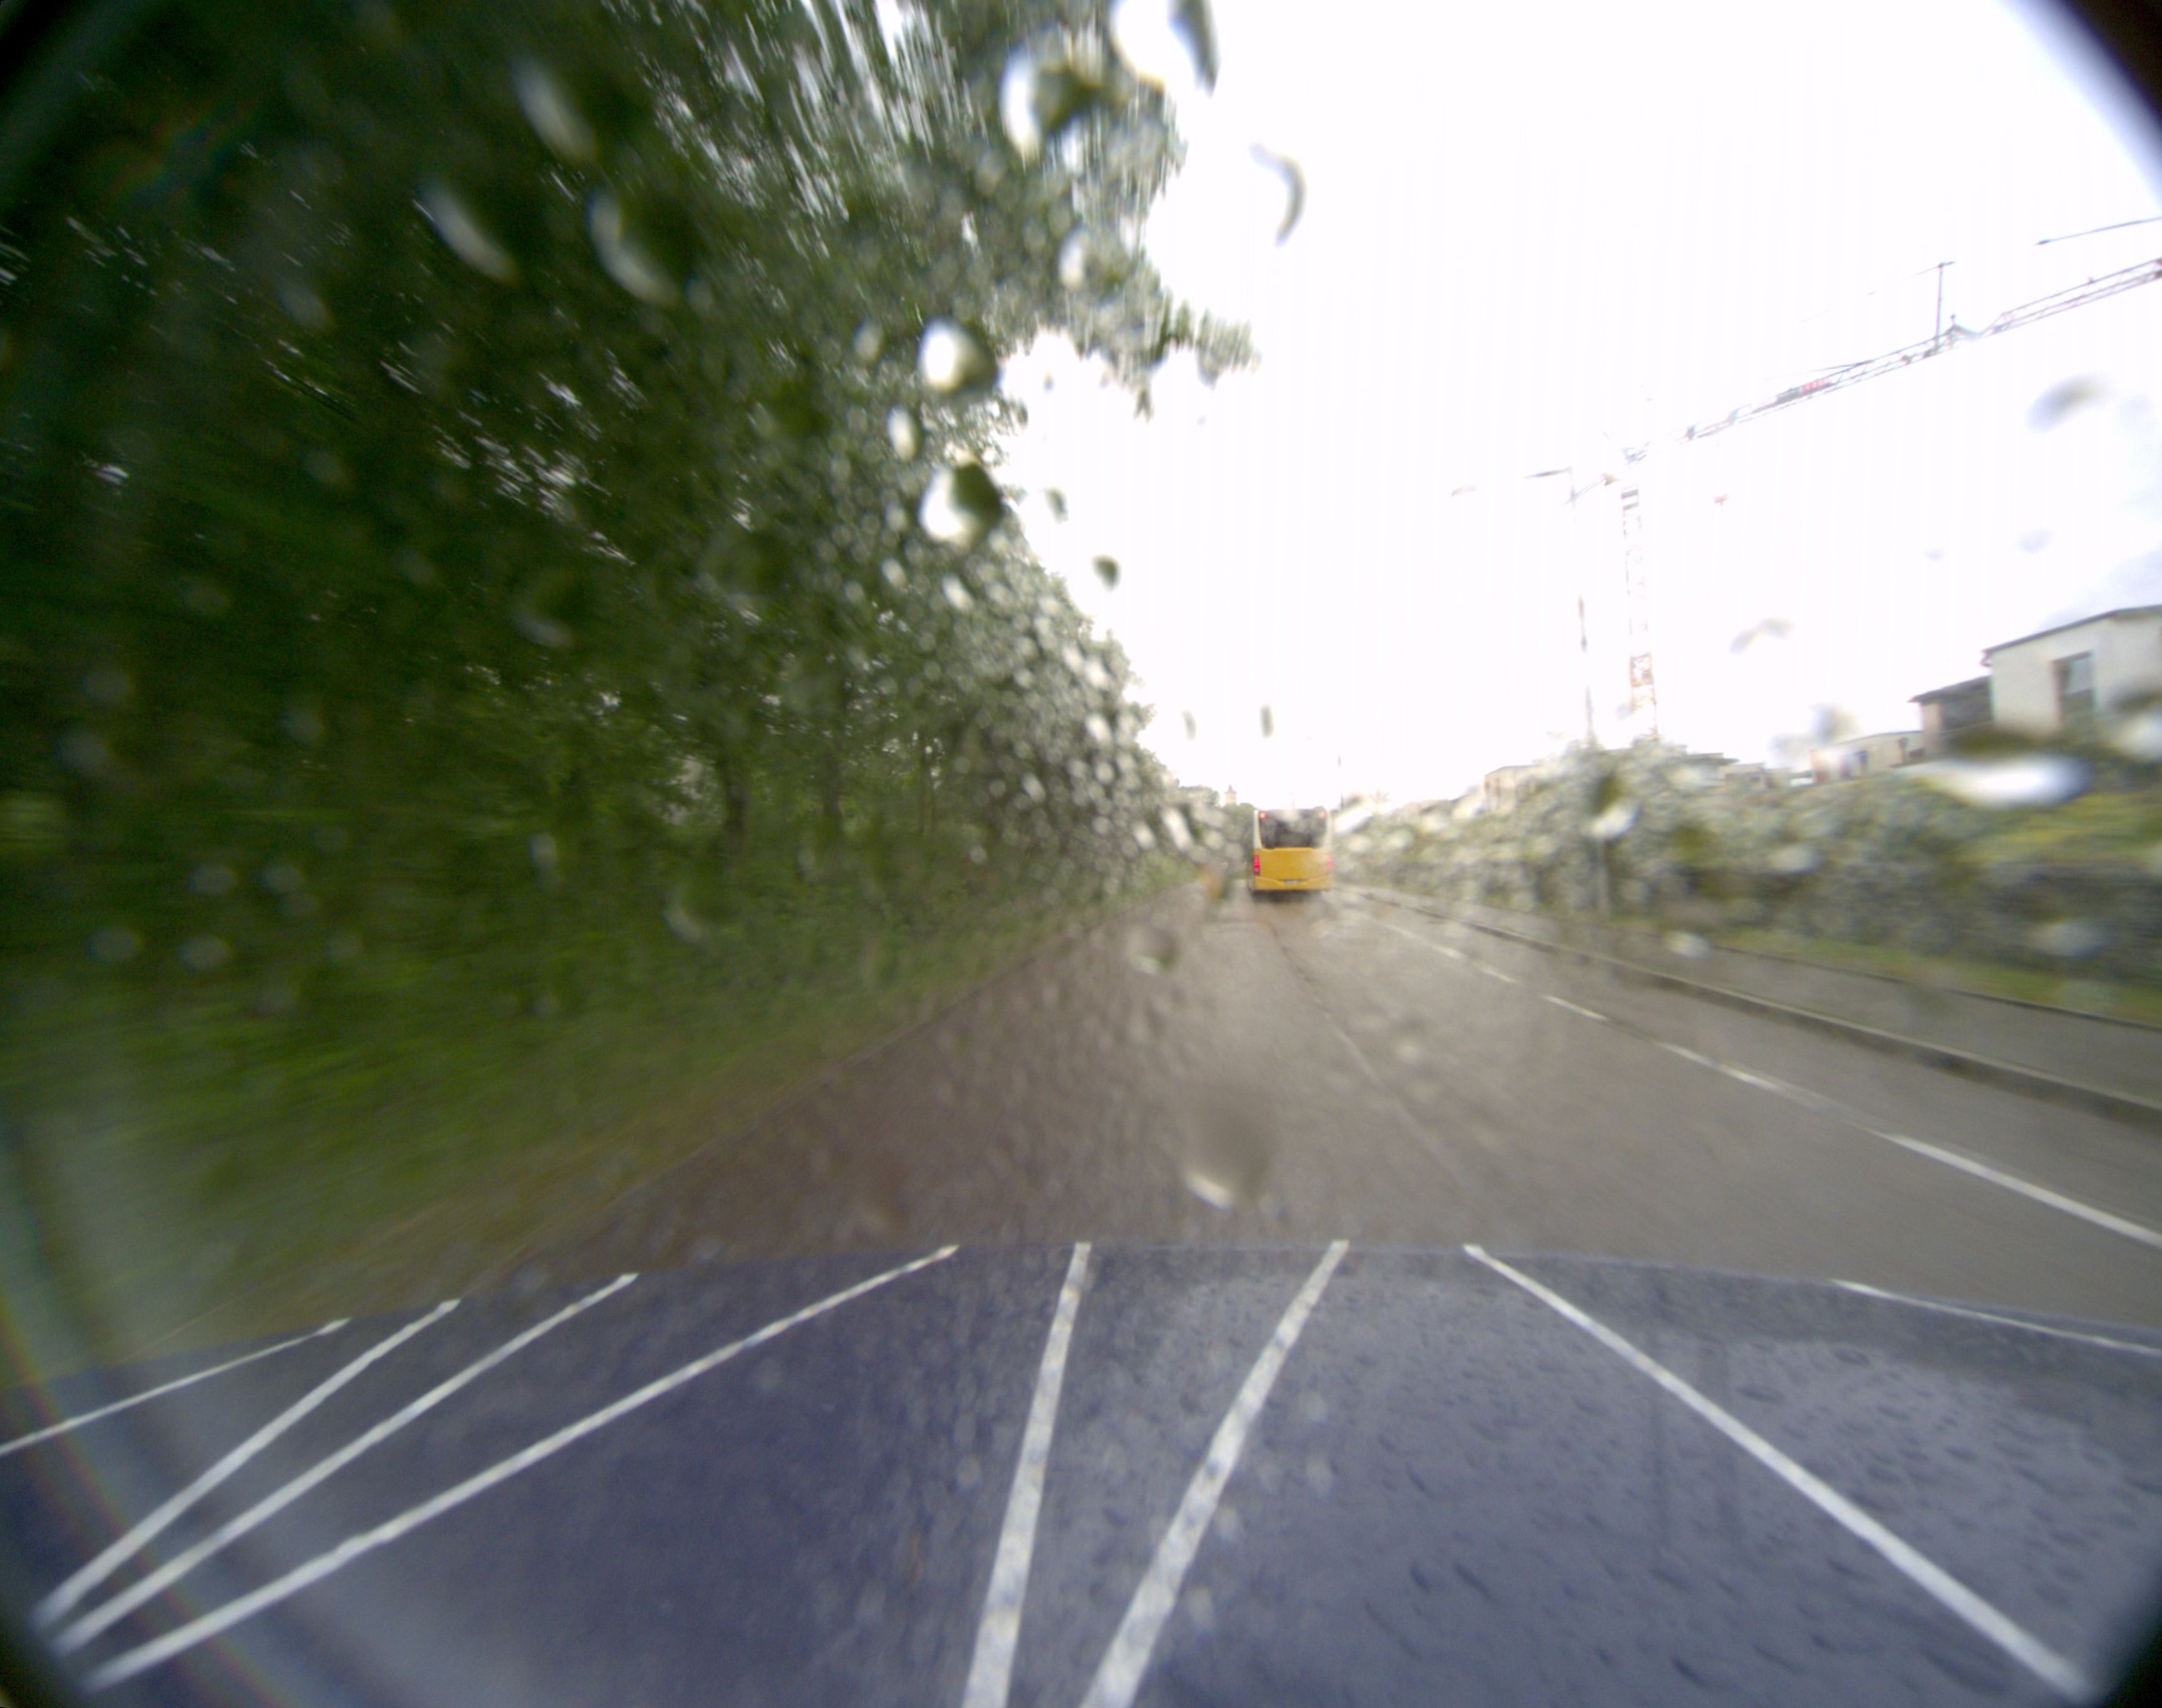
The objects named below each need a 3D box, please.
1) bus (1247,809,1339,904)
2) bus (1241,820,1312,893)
[{"bbox_3d":[7.650,0.082,28.290,2.644,3.014,7.672,-2,0,11],"label":"bus"},{"bbox_3d":[9.373,0.137,37.442,2.644,3.049,10.865,-1,0,11],"label":"bus"}]
